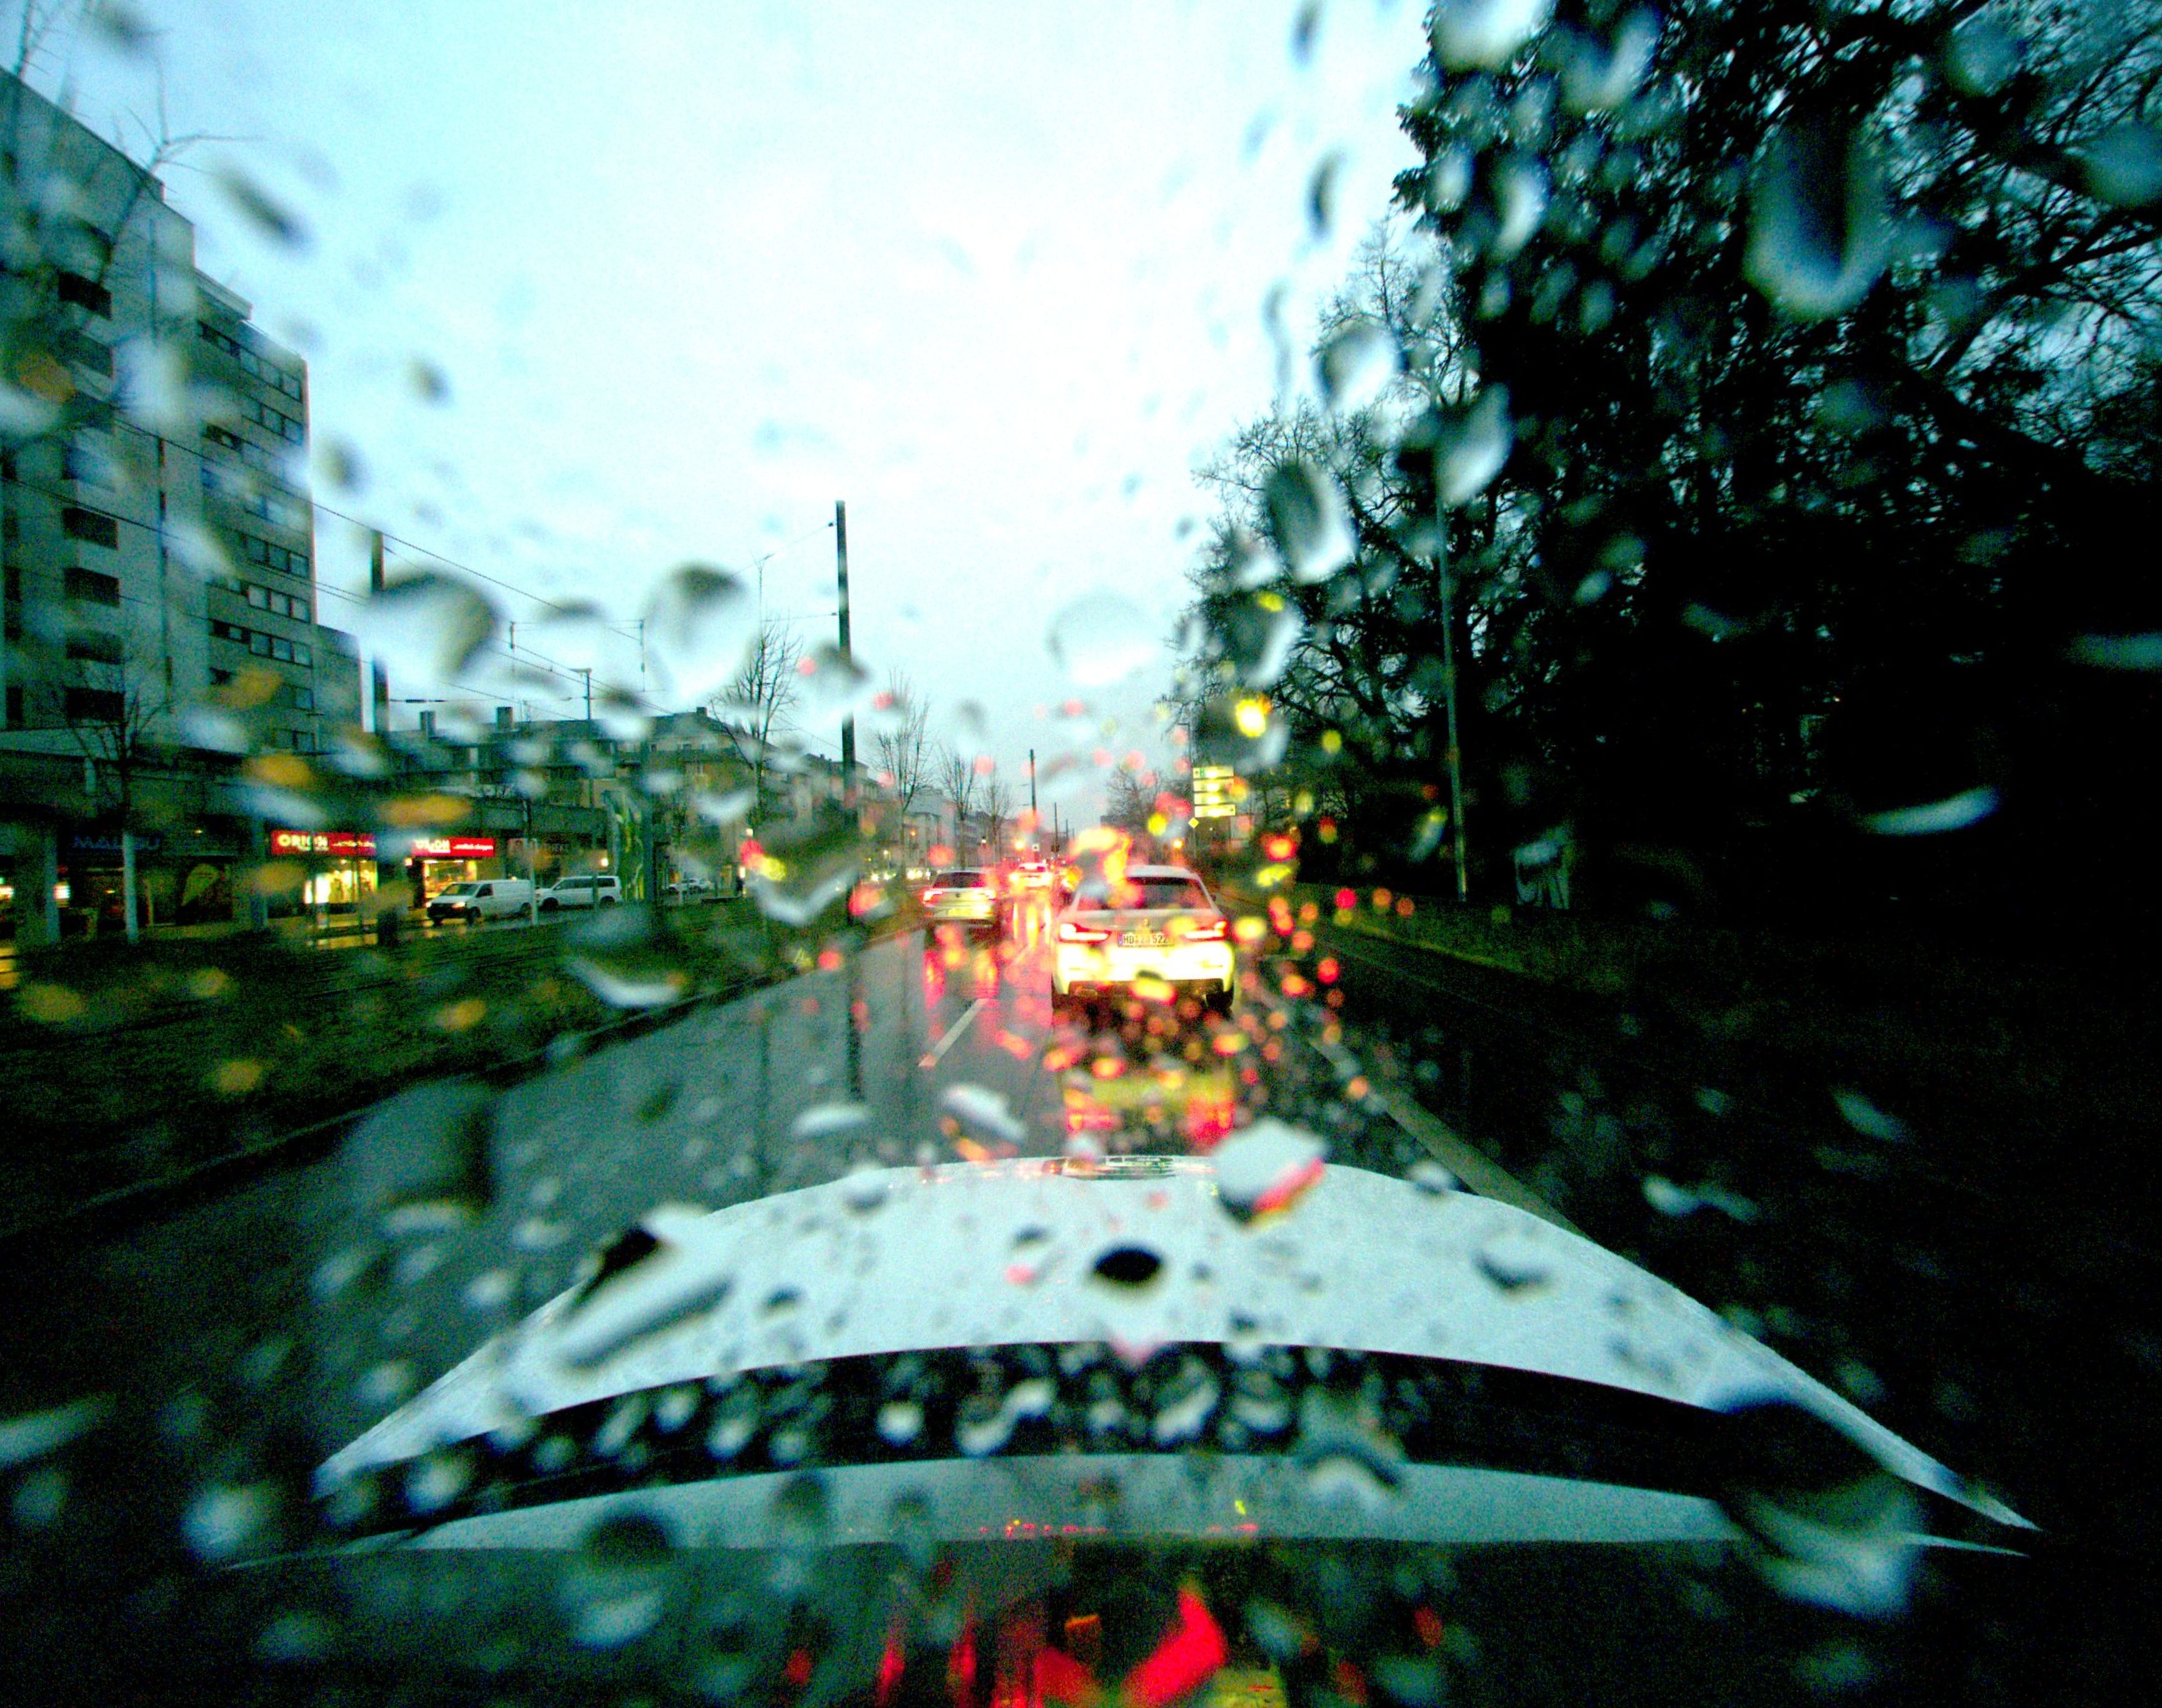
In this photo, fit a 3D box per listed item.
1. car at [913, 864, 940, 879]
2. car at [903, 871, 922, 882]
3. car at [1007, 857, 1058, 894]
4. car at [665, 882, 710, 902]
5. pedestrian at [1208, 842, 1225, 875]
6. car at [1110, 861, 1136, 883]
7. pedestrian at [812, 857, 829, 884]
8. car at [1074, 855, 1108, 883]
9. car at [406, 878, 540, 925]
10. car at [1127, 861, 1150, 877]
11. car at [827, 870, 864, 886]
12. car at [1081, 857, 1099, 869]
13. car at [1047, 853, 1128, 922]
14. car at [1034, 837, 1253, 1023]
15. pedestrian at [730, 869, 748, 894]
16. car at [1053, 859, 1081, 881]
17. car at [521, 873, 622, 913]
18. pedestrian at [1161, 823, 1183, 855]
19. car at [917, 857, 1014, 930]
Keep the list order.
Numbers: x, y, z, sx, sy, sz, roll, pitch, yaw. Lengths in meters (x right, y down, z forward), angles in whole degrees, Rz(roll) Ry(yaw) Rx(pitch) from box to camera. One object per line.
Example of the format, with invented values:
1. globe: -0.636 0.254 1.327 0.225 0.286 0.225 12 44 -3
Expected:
1. car: -16.099 1.803 84.877 1.987 1.602 4.000 0 -1 1
2. car: -20.530 2.749 99.524 1.688 1.277 4.141 -2 -1 -4
3. car: -2.098 0.904 36.407 1.792 1.466 4.587 -2 0 2
4. car: -40.602 3.874 84.116 3.744 1.942 1.838 0 -1 -7
5. pedestrian: 8.517 0.306 51.254 0.954 2.013 1.009 -2 -1 6
6. car: 3.023 1.293 59.388 1.731 1.419 3.704 -2 0 2
7. pedestrian: -20.047 1.234 62.715 0.957 2.013 1.006 -2 -1 -5
8. car: 0.588 0.780 44.772 1.731 1.419 3.704 -2 0 2
9. car: -29.694 2.255 40.075 1.983 2.046 5.575 0 -1 6
10. car: 5.551 1.449 79.316 1.734 1.419 3.698 -2 0 -4
11. car: -20.718 2.122 71.852 1.852 1.332 4.316 0 -1 2
12. car: 1.063 1.060 92.377 1.923 1.288 4.001 0 -1 2
13. car: 0.203 0.772 20.535 1.793 1.511 3.897 -2 -1 2
14. car: 0.625 0.675 9.600 1.855 1.556 4.940 -2 0 2
15. pedestrian: -27.950 2.250 66.497 1.274 2.013 1.000 -2 -1 -23
16. car: -0.939 1.108 57.712 1.731 1.419 4.395 -2 0 2
17. car: -30.688 2.300 49.180 4.859 2.244 1.975 0 -1 -44
18. pedestrian: 5.898 -0.949 52.745 0.962 2.013 1.000 -2 -1 -21
19. car: -2.626 0.845 19.390 1.687 1.533 4.000 -1 0 0
